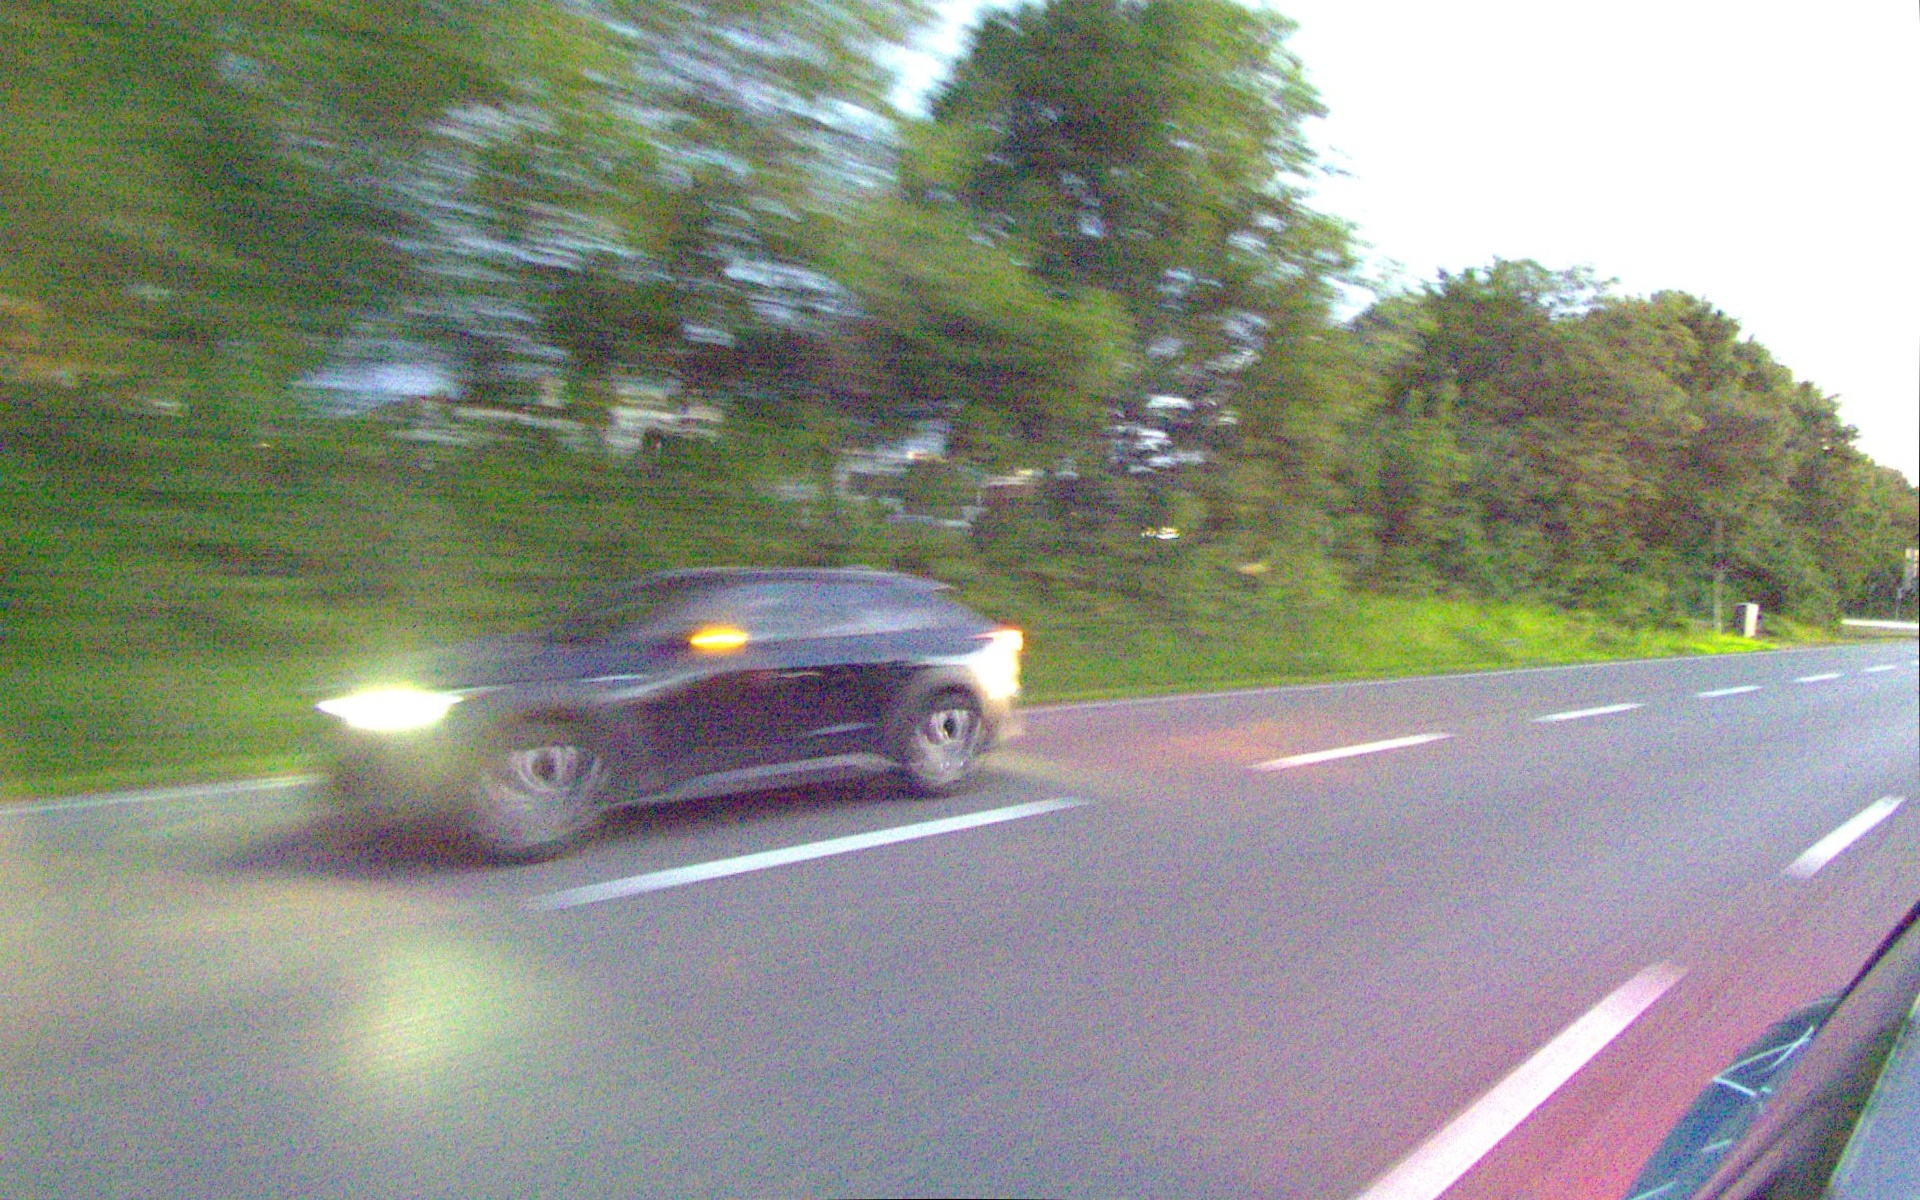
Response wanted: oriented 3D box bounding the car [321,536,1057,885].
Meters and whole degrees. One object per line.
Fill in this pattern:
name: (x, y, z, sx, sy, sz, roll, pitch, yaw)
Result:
car: (-1.597, 0.496, 6.932, 4.475, 1.640, 1.905, 1, 2, -40)
